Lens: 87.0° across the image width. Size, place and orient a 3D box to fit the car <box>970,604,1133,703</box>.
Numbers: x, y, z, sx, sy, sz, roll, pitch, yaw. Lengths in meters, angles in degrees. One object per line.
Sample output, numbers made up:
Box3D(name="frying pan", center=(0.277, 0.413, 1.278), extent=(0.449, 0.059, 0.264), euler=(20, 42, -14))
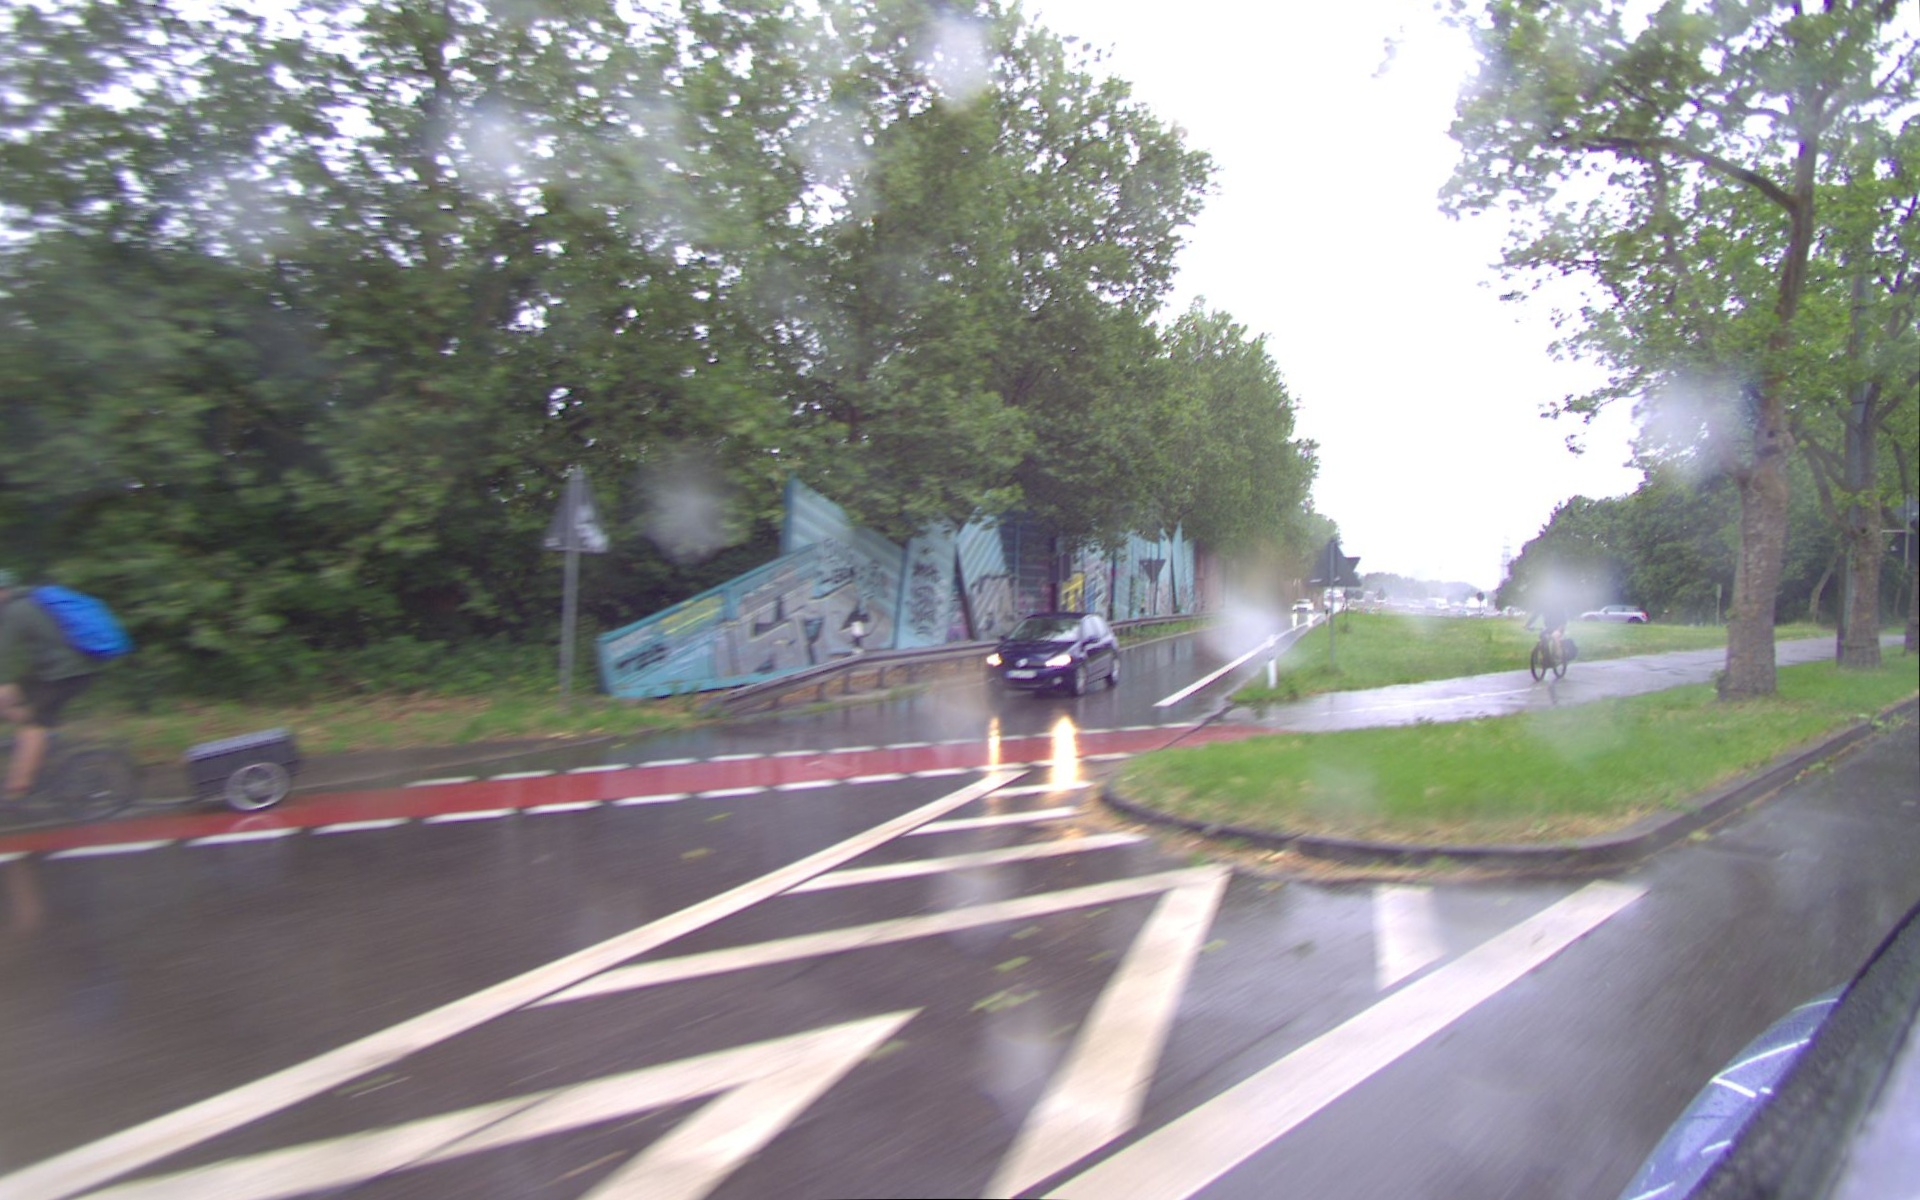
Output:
Box3D(name="car", center=(1.873, 0.895, 19.284), extent=(1.848, 1.556, 4.482), euler=(1, 1, 22))

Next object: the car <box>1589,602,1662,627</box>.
Box3D(name="car", center=(44.453, 0.926, 67.590), extent=(3.976, 1.437, 1.730), euler=(3, 2, 36))
